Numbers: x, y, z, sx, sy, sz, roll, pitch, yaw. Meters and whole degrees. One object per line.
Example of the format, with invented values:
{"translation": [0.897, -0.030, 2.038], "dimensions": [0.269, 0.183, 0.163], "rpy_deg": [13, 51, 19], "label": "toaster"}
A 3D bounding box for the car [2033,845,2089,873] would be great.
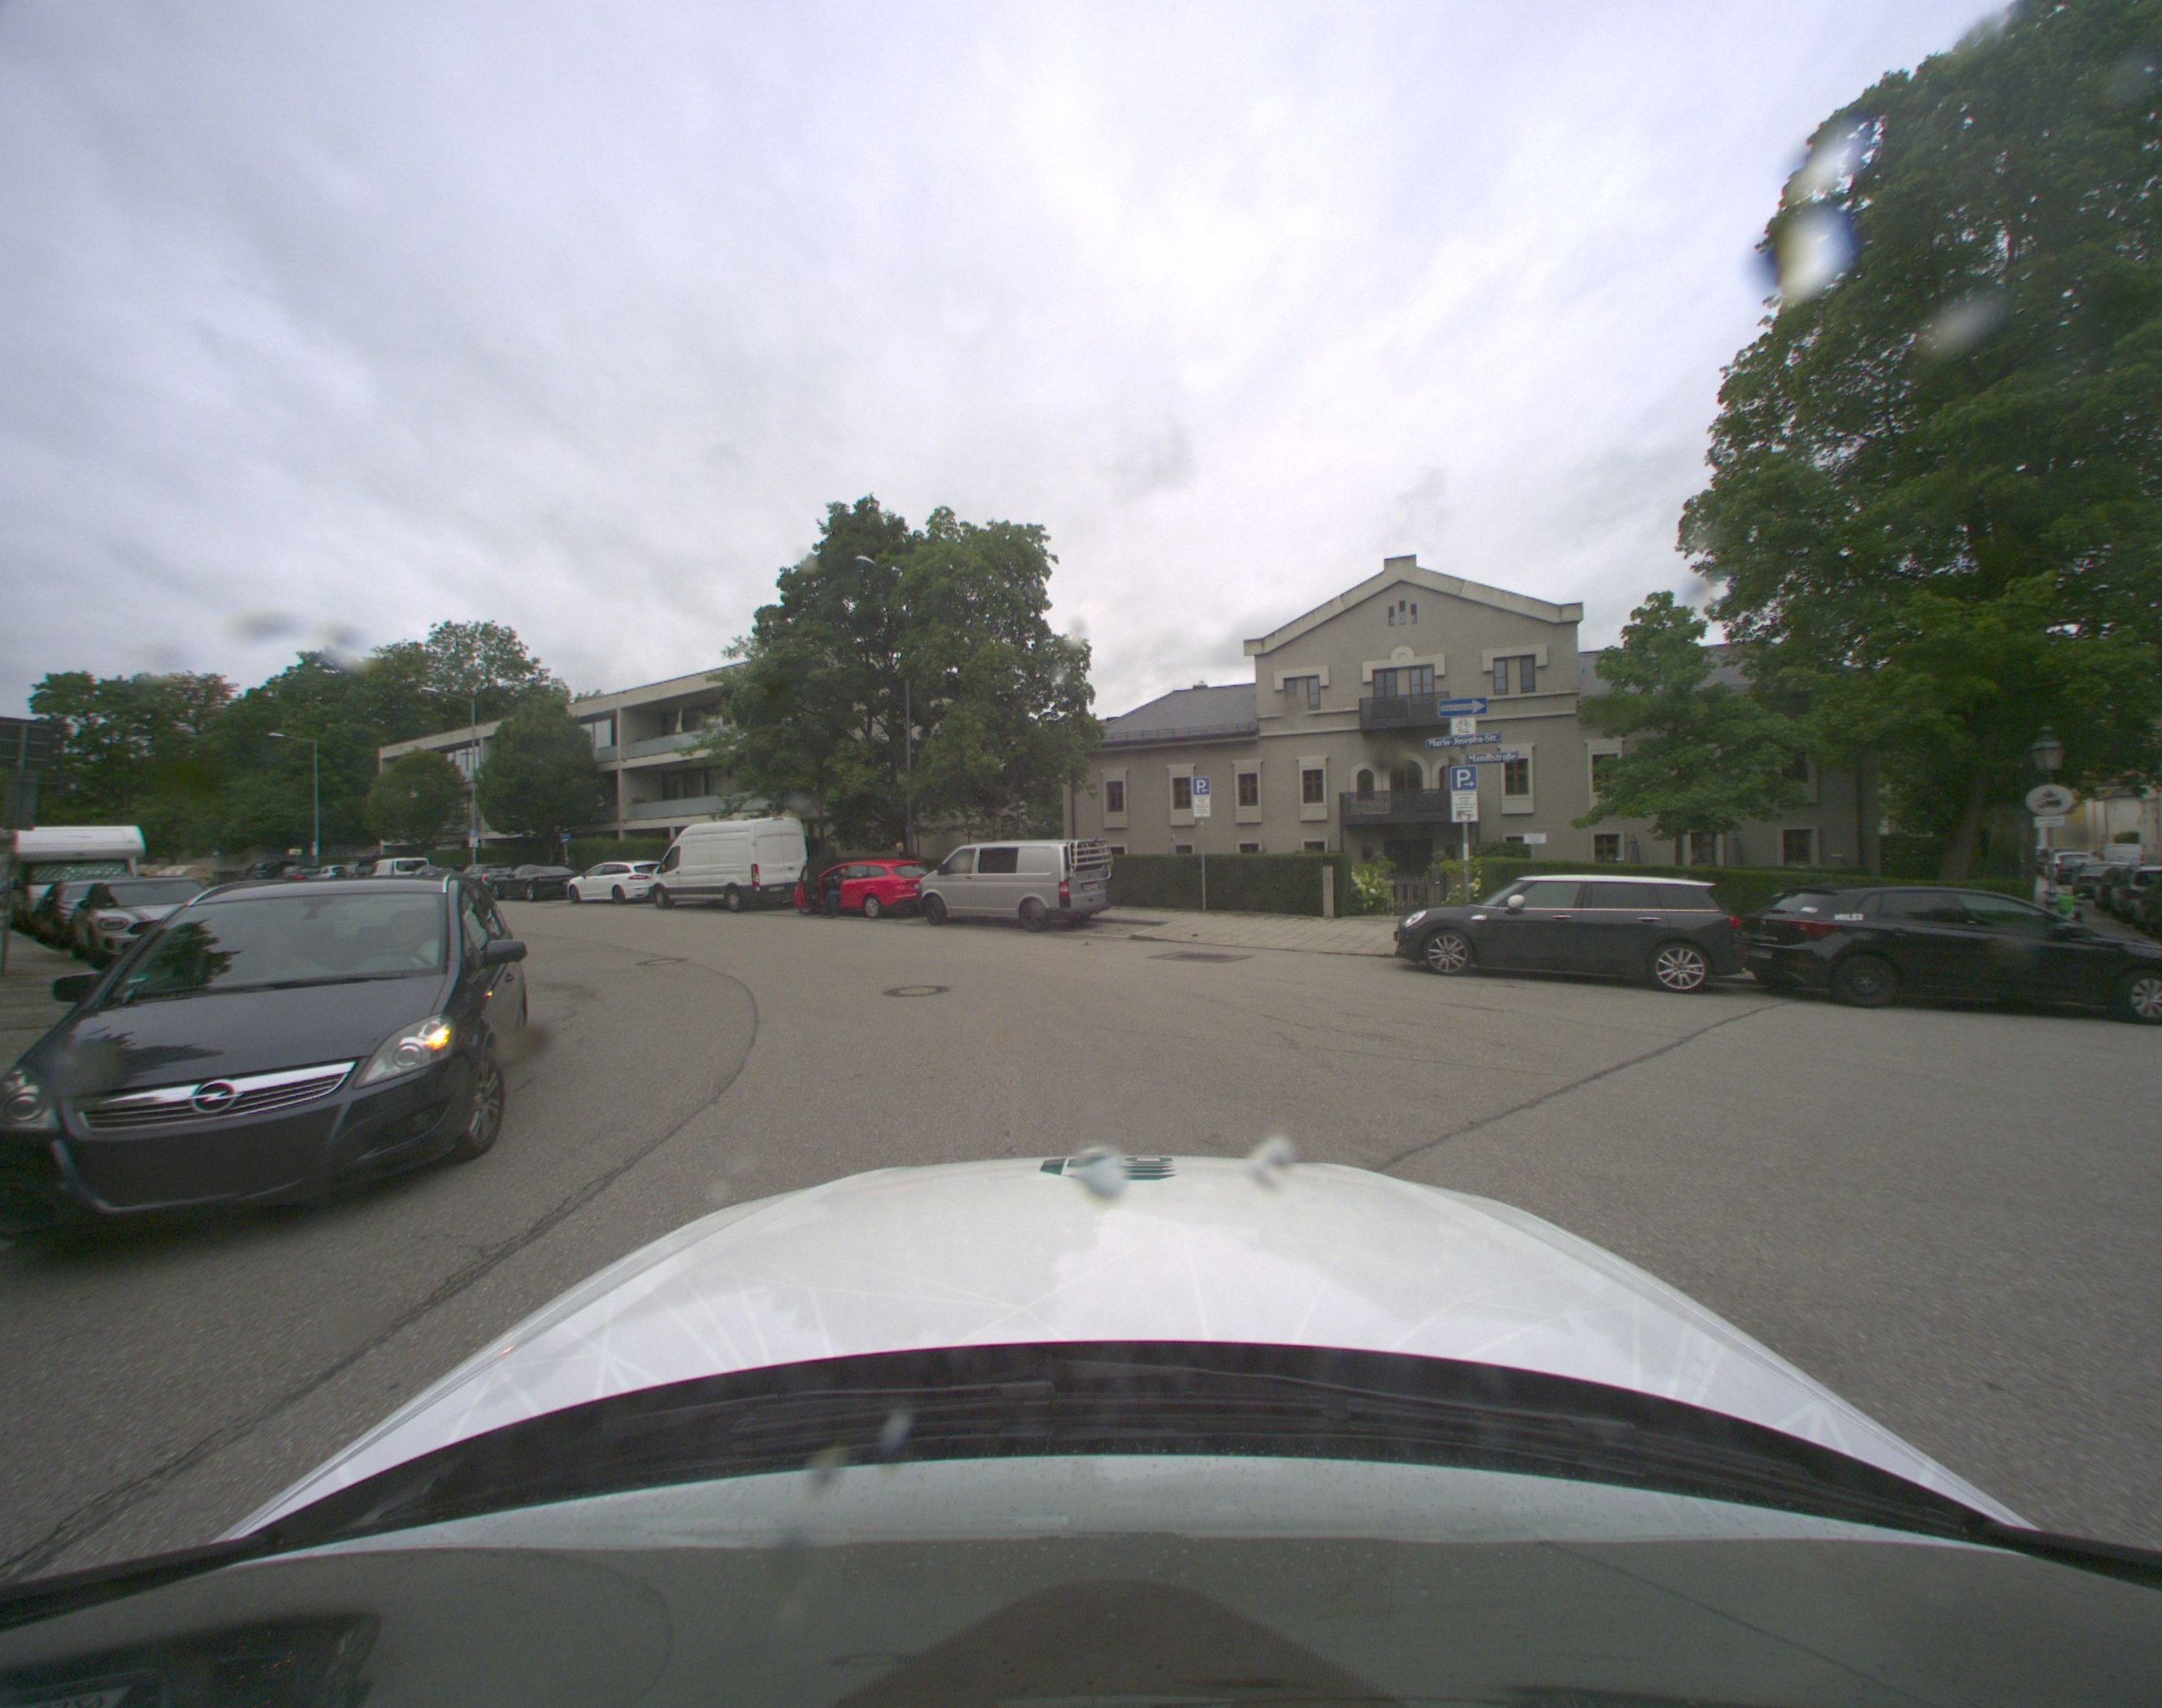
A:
{"translation": [59.255, 0.261, 49.299], "dimensions": [4.037, 1.662, 1.918], "rpy_deg": [-1, 1, -43], "label": "car"}

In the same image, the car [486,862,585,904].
{"translation": [-21.847, 1.118, 32.530], "dimensions": [5.140, 1.506, 1.294], "rpy_deg": [0, 2, 33], "label": "car"}

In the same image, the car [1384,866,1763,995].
{"translation": [6.621, 0.950, 11.442], "dimensions": [4.215, 1.447, 1.909], "rpy_deg": [1, -1, 27], "label": "car"}

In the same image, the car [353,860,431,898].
{"translation": [-35.419, 1.239, 41.830], "dimensions": [4.834, 1.861, 1.840], "rpy_deg": [-1, -1, 34], "label": "car"}

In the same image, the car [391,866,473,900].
{"translation": [-30.689, 1.330, 38.462], "dimensions": [4.187, 1.464, 1.765], "rpy_deg": [-1, 1, 33], "label": "car"}

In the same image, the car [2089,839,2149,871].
{"translation": [66.871, 0.084, 52.541], "dimensions": [4.201, 2.014, 1.976], "rpy_deg": [0, -1, -43], "label": "car"}

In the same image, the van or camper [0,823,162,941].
{"translation": [-29.026, 0.699, 23.426], "dimensions": [7.118, 2.940, 2.479], "rpy_deg": [-1, 2, 35], "label": "van or camper"}

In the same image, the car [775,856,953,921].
{"translation": [-5.986, 0.874, 22.264], "dimensions": [4.775, 1.506, 1.889], "rpy_deg": [0, 3, 32], "label": "car"}

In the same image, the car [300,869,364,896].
{"translation": [-43.426, 1.621, 47.194], "dimensions": [3.838, 1.480, 1.765], "rpy_deg": [-1, 0, 32], "label": "car"}

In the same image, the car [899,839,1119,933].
{"translation": [-1.776, 0.660, 19.266], "dimensions": [5.006, 1.904, 1.954], "rpy_deg": [0, 3, 34], "label": "car"}

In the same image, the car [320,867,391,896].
{"translation": [-39.717, 1.492, 44.547], "dimensions": [4.538, 1.480, 1.764], "rpy_deg": [-1, 0, 33], "label": "car"}

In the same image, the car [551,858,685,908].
{"translation": [-16.664, 0.966, 29.262], "dimensions": [4.937, 1.569, 1.889], "rpy_deg": [0, 3, 30], "label": "car"}

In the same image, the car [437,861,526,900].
{"translation": [-26.248, 1.140, 35.625], "dimensions": [4.150, 1.529, 1.744], "rpy_deg": [-1, 2, 33], "label": "car"}

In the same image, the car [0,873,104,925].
{"translation": [-35.514, 1.491, 28.070], "dimensions": [4.173, 1.534, 1.796], "rpy_deg": [-1, 2, 33], "label": "car"}

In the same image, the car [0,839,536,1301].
{"translation": [-4.785, 0.887, 5.173], "dimensions": [2.007, 1.693, 4.290], "rpy_deg": [-2, -1, -32], "label": "car"}

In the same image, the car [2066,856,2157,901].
{"translation": [41.198, 0.921, 32.646], "dimensions": [4.037, 1.662, 1.918], "rpy_deg": [-1, 1, -43], "label": "car"}

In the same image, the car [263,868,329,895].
{"translation": [-48.279, 1.660, 50.095], "dimensions": [4.511, 1.539, 1.764], "rpy_deg": [-1, 0, 30], "label": "car"}

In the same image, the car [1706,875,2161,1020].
{"translation": [10.424, 1.045, 9.970], "dimensions": [3.974, 1.447, 1.904], "rpy_deg": [2, -1, 13], "label": "car"}

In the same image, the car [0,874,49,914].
{"translation": [-44.928, 1.673, 33.974], "dimensions": [4.383, 1.534, 1.863], "rpy_deg": [-2, 2, 33], "label": "car"}

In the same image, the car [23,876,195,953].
{"translation": [-23.381, 1.359, 19.554], "dimensions": [4.759, 1.508, 1.955], "rpy_deg": [-1, 2, 32], "label": "car"}

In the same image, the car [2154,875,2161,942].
{"translation": [23.816, 1.229, 16.611], "dimensions": [4.037, 1.446, 1.918], "rpy_deg": [-1, 1, -43], "label": "car"}

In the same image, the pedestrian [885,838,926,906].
{"translation": [-5.086, 0.516, 23.593], "dimensions": [0.854, 1.904, 0.803], "rpy_deg": [-1, -1, 40], "label": "pedestrian"}

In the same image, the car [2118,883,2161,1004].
{"translation": [15.272, 1.156, 10.133], "dimensions": [4.018, 1.446, 1.927], "rpy_deg": [1, 1, -23], "label": "car"}

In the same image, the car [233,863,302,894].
{"translation": [-52.811, 1.599, 52.851], "dimensions": [5.012, 1.871, 2.007], "rpy_deg": [-2, -1, 30], "label": "car"}

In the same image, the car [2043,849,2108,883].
{"translation": [52.293, 0.593, 42.878], "dimensions": [4.037, 1.662, 1.918], "rpy_deg": [-1, 1, -43], "label": "car"}

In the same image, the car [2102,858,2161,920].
{"translation": [31.754, 0.990, 23.899], "dimensions": [4.037, 1.662, 1.918], "rpy_deg": [-1, 1, -43], "label": "car"}

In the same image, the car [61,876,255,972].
{"translation": [-18.562, 1.282, 16.334], "dimensions": [4.472, 1.534, 1.955], "rpy_deg": [-1, 2, 34], "label": "car"}

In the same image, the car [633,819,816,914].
{"translation": [-11.233, 0.326, 25.484], "dimensions": [6.010, 2.686, 2.100], "rpy_deg": [0, 2, 32], "label": "car"}
